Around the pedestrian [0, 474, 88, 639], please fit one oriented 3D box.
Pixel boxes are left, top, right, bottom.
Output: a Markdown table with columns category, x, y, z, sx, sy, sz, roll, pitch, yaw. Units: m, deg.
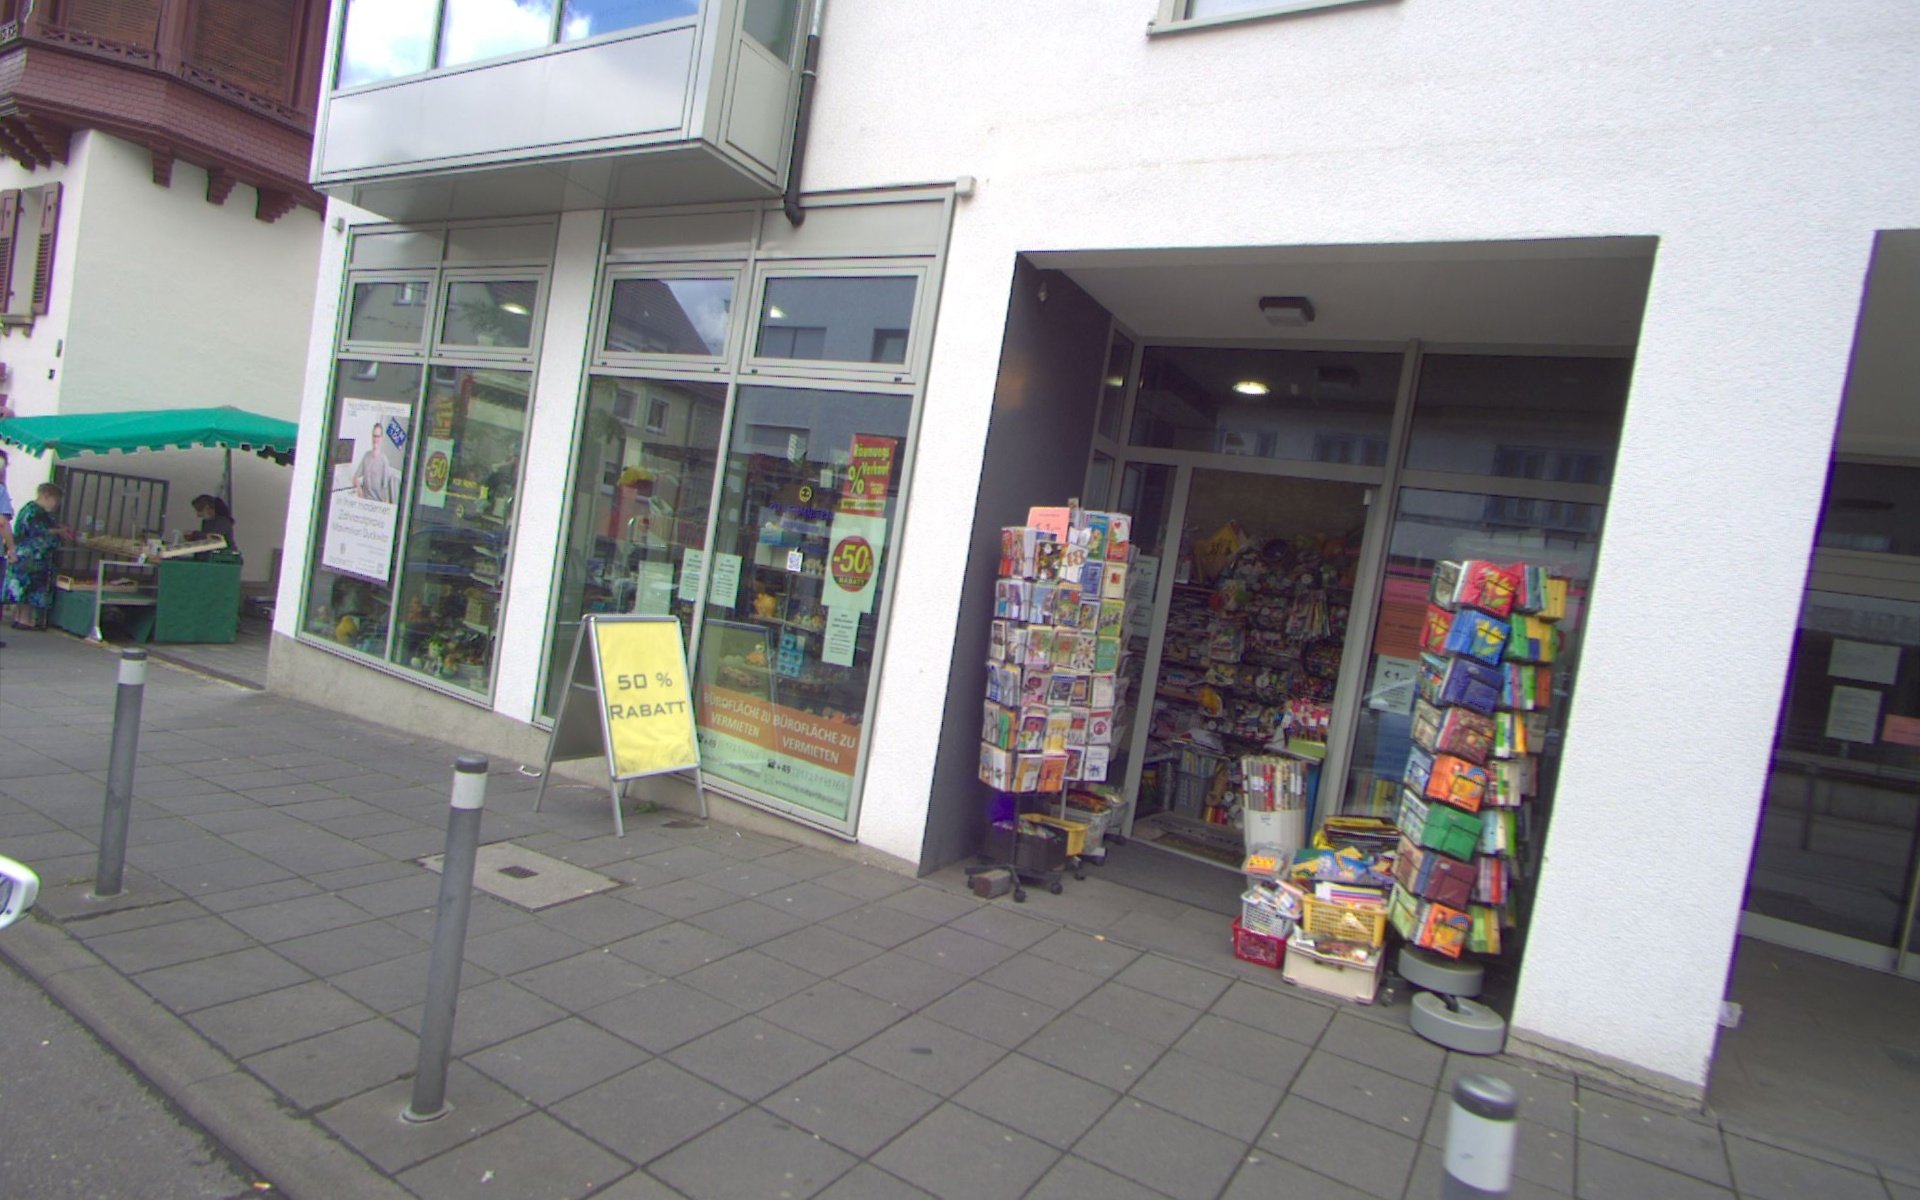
| category | x | y | z | sx | sy | sz | roll | pitch | yaw |
| --- | --- | --- | --- | --- | --- | --- | --- | --- | --- |
| pedestrian | -9.755 | -0.456 | 10.597 | 0.692 | 1.633 | 0.623 | 7 | 1 | 36 |

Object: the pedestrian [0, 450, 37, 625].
| category | x | y | z | sx | sy | sz | roll | pitch | yaw |
| --- | --- | --- | --- | --- | --- | --- | --- | --- | --- |
| pedestrian | -10.749 | -0.711 | 10.876 | 0.769 | 1.881 | 0.700 | 6 | 1 | -16 |

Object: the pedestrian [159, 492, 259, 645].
| category | x | y | z | sx | sy | sz | roll | pitch | yaw |
| --- | --- | --- | --- | --- | --- | --- | --- | --- | --- |
| pedestrian | -8.509 | -0.352 | 11.399 | 0.692 | 1.633 | 0.623 | 7 | 1 | 36 |

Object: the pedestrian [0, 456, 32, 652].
| category | x | y | z | sx | sy | sz | roll | pitch | yaw |
| --- | --- | --- | --- | --- | --- | --- | --- | --- | --- |
| pedestrian | -9.144 | -0.458 | 9.238 | 0.695 | 1.789 | 0.620 | 6 | 1 | -33 |
